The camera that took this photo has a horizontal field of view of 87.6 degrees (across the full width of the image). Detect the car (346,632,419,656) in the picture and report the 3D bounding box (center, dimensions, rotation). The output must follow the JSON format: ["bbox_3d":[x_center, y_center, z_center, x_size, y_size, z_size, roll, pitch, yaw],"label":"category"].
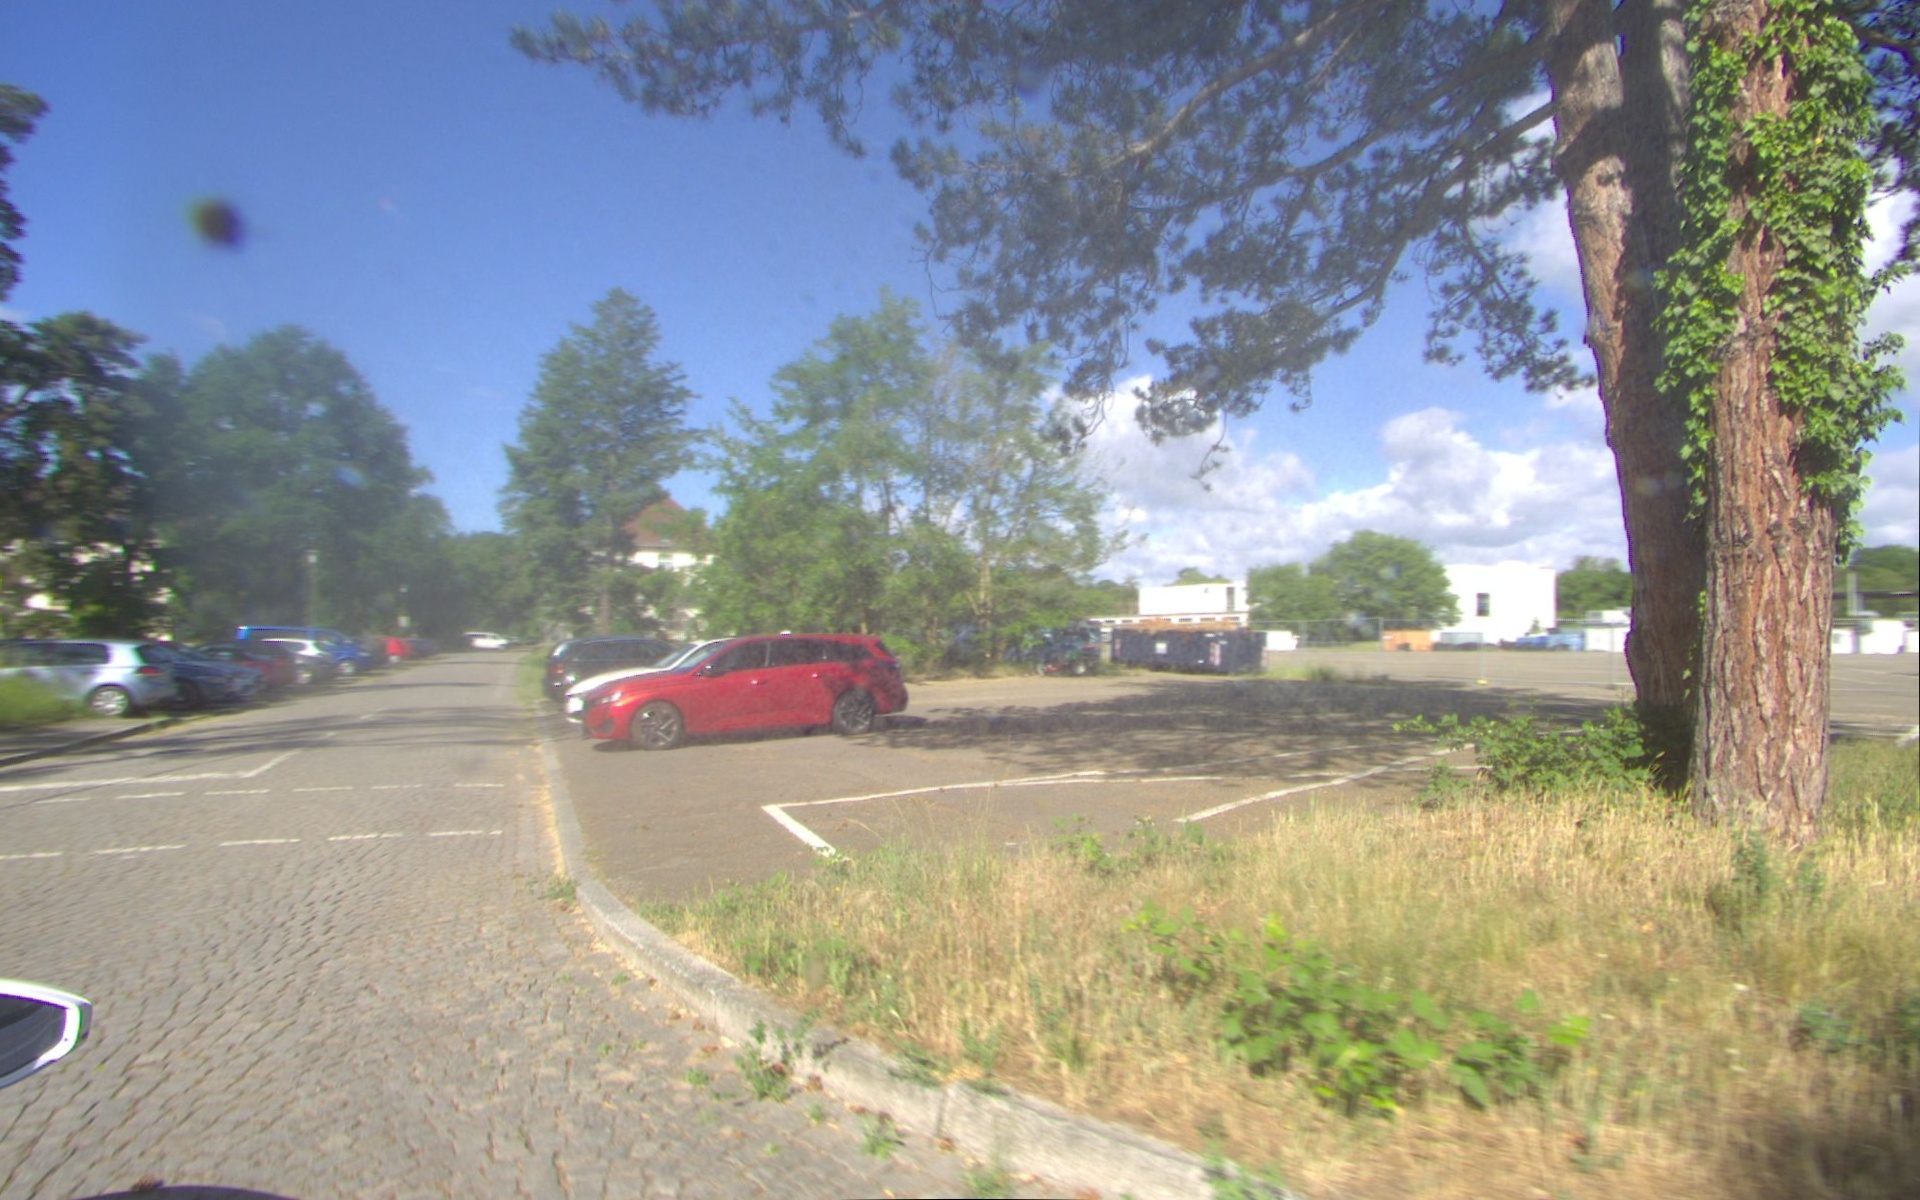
[{"bbox_3d":[-37.548,2.863,65.237,3.872,1.451,1.837,2,-2,-23],"label":"car"}]

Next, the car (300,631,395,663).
[{"bbox_3d":[-31.210,2.395,51.173,3.876,1.467,1.860,3,-2,-25],"label":"car"}]

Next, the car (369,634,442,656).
[{"bbox_3d":[-39.788,3.213,71.960,4.301,1.463,1.916,2,-2,-21],"label":"car"}]

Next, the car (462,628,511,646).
[{"bbox_3d":[-55.825,4.418,118.141,5.169,2.041,1.944,2,-2,-24],"label":"car"}]

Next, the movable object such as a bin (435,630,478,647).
[{"bbox_3d":[-52.841,4.047,105.183,3.508,1.767,2.025,0,-2,-5],"label":"movable object such as a bin"}]

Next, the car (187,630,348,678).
[{"bbox_3d":[-22.863,1.795,33.243,4.024,1.443,1.917,3,-2,-23],"label":"car"}]

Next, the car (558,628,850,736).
[{"bbox_3d":[-4.286,1.291,16.859,4.457,1.483,1.832,-1,-1,-27],"label":"car"}]

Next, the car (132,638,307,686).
[{"bbox_3d":[-20.690,1.751,28.150,3.584,1.249,1.755,3,-3,-23],"label":"car"}]

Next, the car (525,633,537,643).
[{"bbox_3d":[-77.424,6.901,180.846,1.946,1.689,4.073,1,-2,-24],"label":"car"}]

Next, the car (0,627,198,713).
[{"bbox_3d":[-17.084,1.295,18.855,3.978,1.502,1.941,3,-2,-26],"label":"car"}]

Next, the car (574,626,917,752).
[{"bbox_3d":[-3.062,1.172,14.336,4.479,1.439,1.888,-1,-1,-25],"label":"car"}]

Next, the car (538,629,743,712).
[{"bbox_3d":[-6.835,1.443,21.429,3.954,1.460,1.837,-2,0,-26],"label":"car"}]

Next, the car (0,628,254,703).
[{"bbox_3d":[-17.980,1.395,21.314,4.528,1.470,1.976,3,-3,-27],"label":"car"}]

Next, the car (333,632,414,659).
[{"bbox_3d":[-34.027,2.632,58.206,3.876,1.479,1.835,3,-2,-25],"label":"car"}]

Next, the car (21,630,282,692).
[{"bbox_3d":[-20.508,1.571,25.710,4.803,1.438,1.933,3,-3,-24],"label":"car"}]

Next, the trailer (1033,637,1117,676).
[{"bbox_3d":[3.490,1.706,30.327,2.371,1.119,1.032,3,-2,-28],"label":"trailer"}]

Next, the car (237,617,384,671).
[{"bbox_3d":[-26.230,1.792,40.639,4.659,1.992,1.999,3,-3,-24],"label":"car"}]

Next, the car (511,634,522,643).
[{"bbox_3d":[-79.474,6.906,179.605,1.789,1.599,4.122,1,-2,-24],"label":"car"}]

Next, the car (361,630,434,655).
[{"bbox_3d":[-37.973,2.881,67.662,4.083,1.599,1.878,2,-2,-24],"label":"car"}]

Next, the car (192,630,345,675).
[{"bbox_3d":[-24.494,1.863,35.661,4.144,1.493,1.818,3,-2,-24],"label":"car"}]

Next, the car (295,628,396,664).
[{"bbox_3d":[-29.860,2.253,48.796,3.906,1.587,1.966,3,-2,-25],"label":"car"}]

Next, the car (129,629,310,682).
[{"bbox_3d":[-22.297,1.689,30.347,4.024,1.470,1.817,3,-3,-23],"label":"car"}]

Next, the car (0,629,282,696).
[{"bbox_3d":[-19.186,1.507,23.743,4.803,1.438,1.933,3,-3,-24],"label":"car"}]

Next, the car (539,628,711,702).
[{"bbox_3d":[-7.999,1.492,23.905,3.693,1.495,1.746,-2,-1,-26],"label":"car"}]
